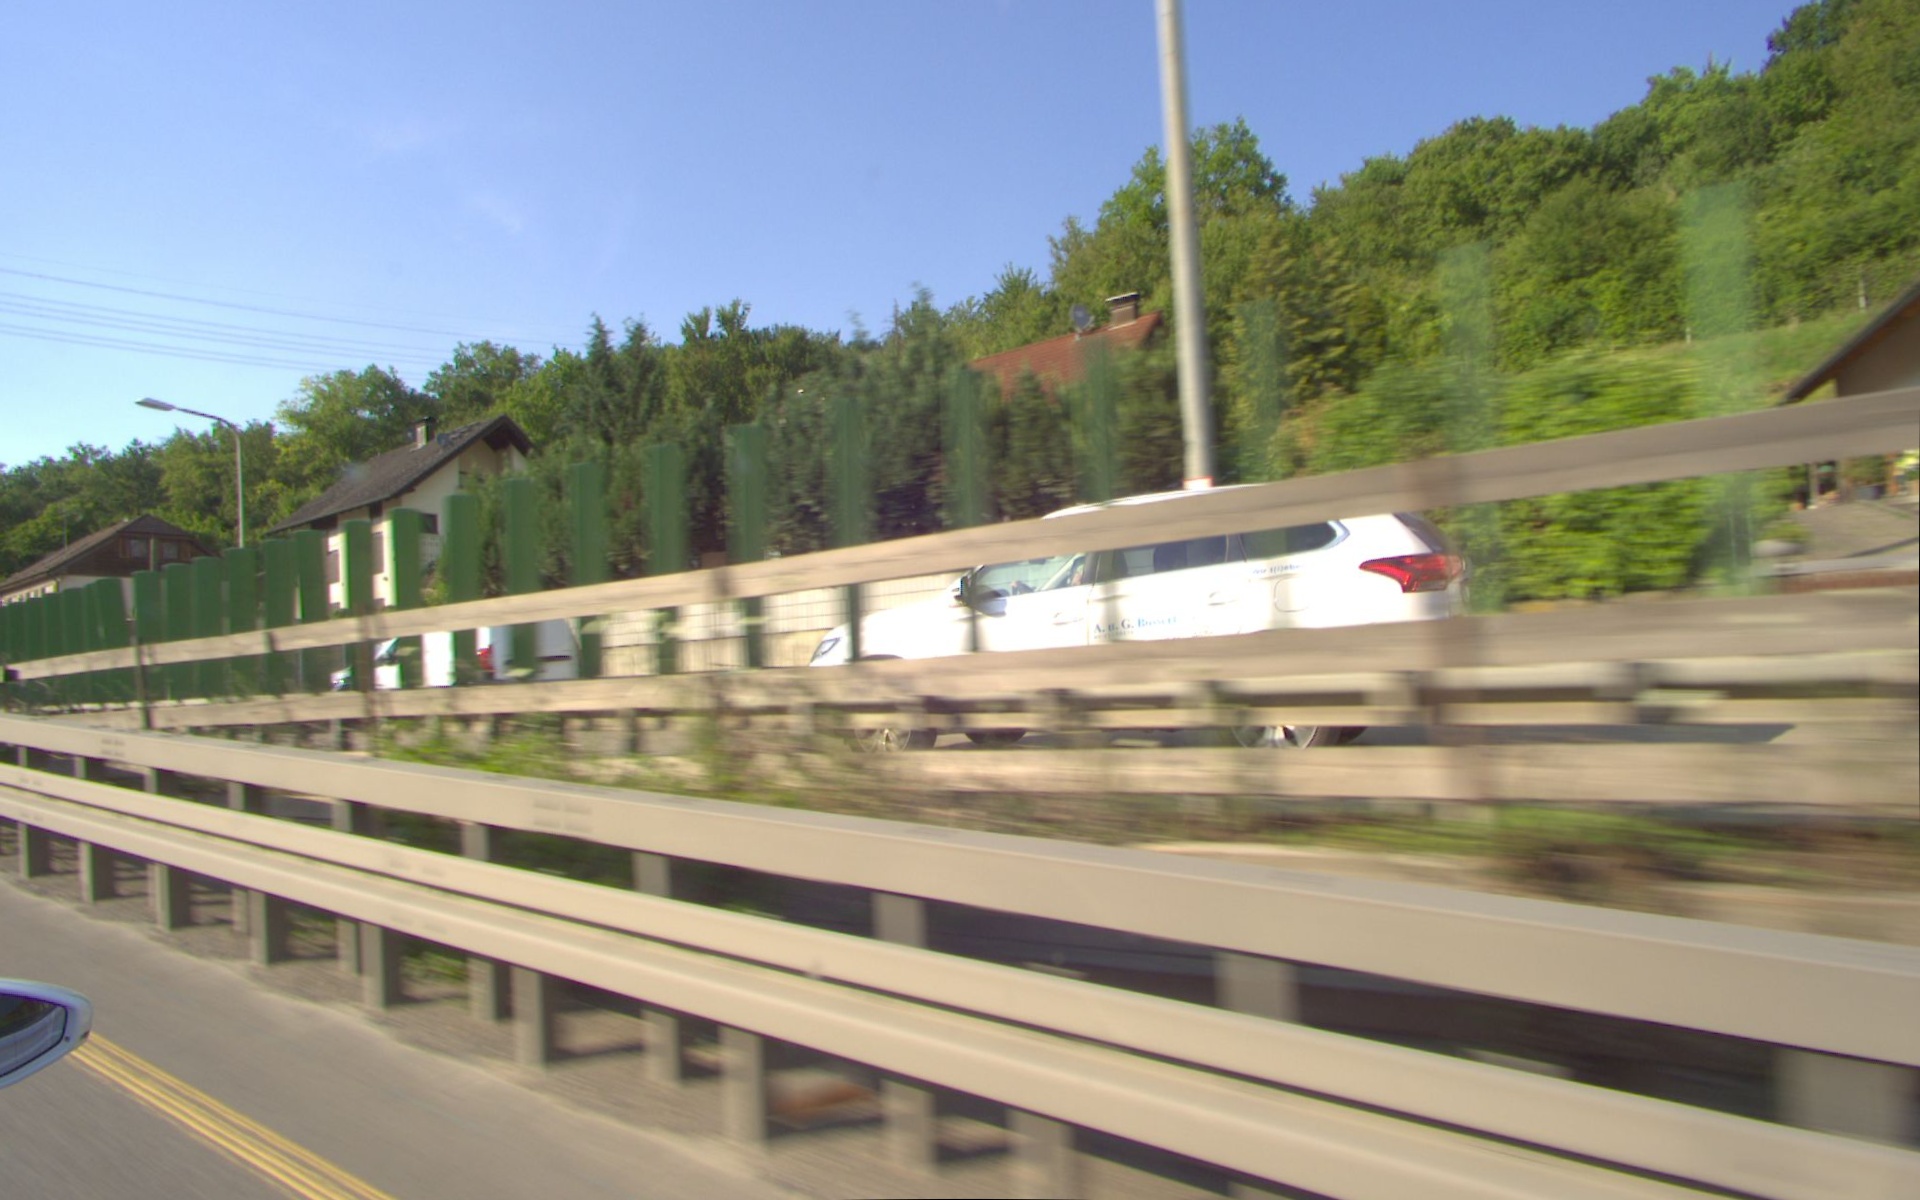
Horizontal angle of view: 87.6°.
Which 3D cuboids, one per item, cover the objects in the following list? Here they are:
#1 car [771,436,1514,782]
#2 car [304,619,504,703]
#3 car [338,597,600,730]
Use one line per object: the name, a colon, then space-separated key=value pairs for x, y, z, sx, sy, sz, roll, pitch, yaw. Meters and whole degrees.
car: x=1.069 y=0.201 z=6.743 sx=4.581 sy=1.679 sz=1.696 roll=-4 pitch=-3 yaw=30
car: x=-14.482 y=1.547 z=26.314 sx=1.826 sy=1.759 sz=4.120 roll=-4 pitch=0 yaw=32
car: x=-8.025 y=1.056 z=16.261 sx=4.379 sy=1.893 sz=1.804 roll=-4 pitch=-3 yaw=32
